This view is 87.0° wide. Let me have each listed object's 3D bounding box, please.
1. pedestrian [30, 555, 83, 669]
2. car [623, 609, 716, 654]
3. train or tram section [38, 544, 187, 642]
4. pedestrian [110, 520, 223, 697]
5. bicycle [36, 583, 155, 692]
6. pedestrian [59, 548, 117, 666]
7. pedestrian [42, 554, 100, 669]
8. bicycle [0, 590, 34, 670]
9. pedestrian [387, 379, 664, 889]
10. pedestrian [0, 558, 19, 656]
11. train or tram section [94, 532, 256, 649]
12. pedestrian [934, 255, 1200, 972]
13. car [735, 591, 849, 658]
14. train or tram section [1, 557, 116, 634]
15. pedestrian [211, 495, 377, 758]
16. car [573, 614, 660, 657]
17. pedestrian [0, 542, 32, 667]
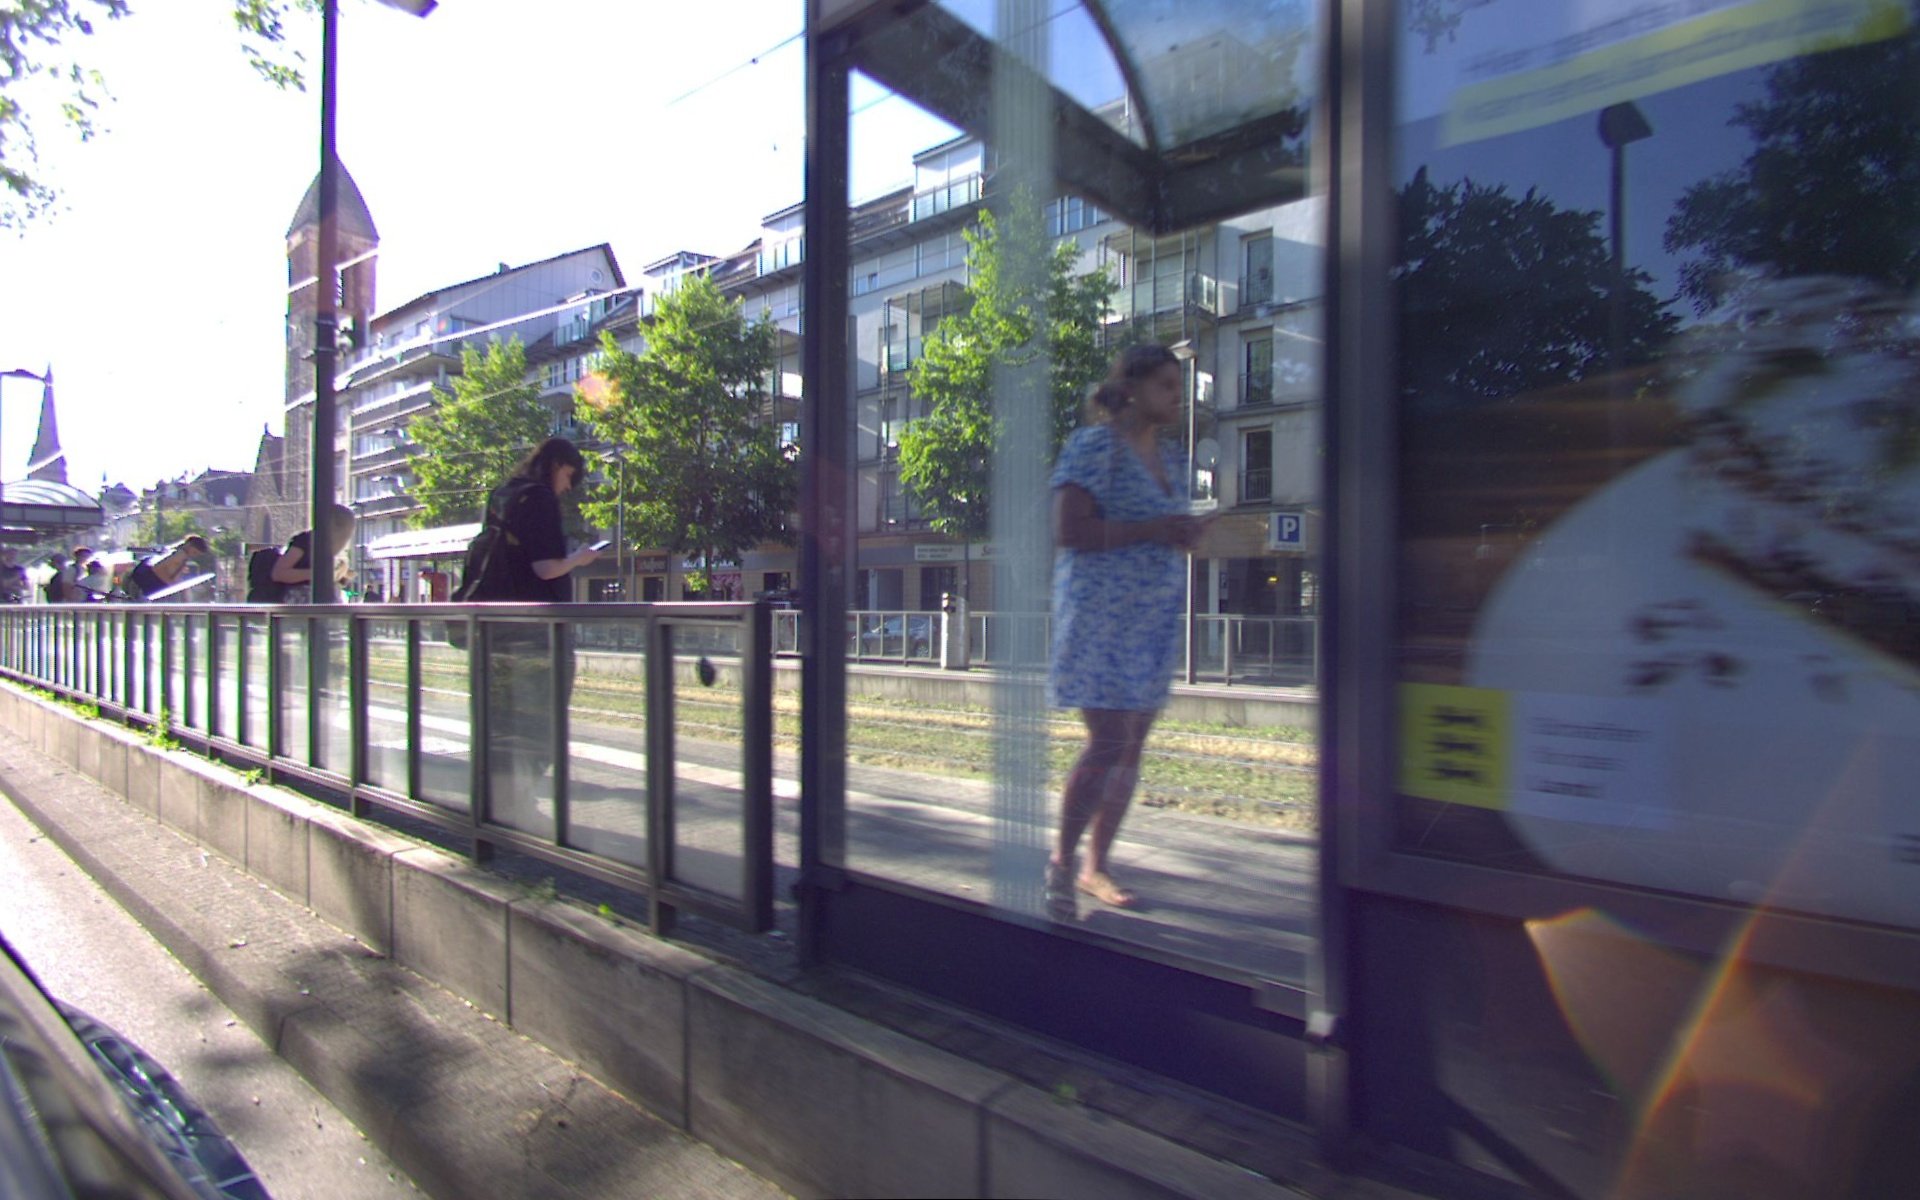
[{"bbox_3d":[-14.843,0.188,16.630,0.592,1.813,0.825,-2,1,-44],"label":"pedestrian"},{"bbox_3d":[-11.581,1.202,40.266,3.783,1.648,1.788,0,1,41],"label":"car"},{"bbox_3d":[-37.526,-0.209,44.483,14.554,3.713,2.839,0,-1,42],"label":"train or tram section"},{"bbox_3d":[-8.404,0.081,10.723,0.773,1.784,0.777,-1,1,41],"label":"pedestrian"},{"bbox_3d":[-9.874,0.394,11.530,2.029,1.142,0.729,0,1,41],"label":"bicycle"},{"bbox_3d":[-13.057,0.100,15.158,0.729,1.720,0.501,-1,1,38],"label":"pedestrian"},{"bbox_3d":[-13.656,0.163,15.549,0.599,1.720,0.543,-1,1,38],"label":"pedestrian"},{"bbox_3d":[-14.508,0.431,15.299,2.102,1.142,0.508,0,1,41],"label":"bicycle"},{"bbox_3d":[-1.722,0.114,4.030,0.694,1.772,0.757,-1,1,40],"label":"pedestrian"},{"bbox_3d":[-19.109,0.139,20.025,0.825,1.916,0.662,0,1,44],"label":"pedestrian"},{"bbox_3d":[-28.454,-0.256,36.470,9.680,3.713,2.839,0,-1,41],"label":"train or tram section"},{"bbox_3d":[0.314,0.034,2.941,0.624,1.735,0.908,-1,1,7],"label":"pedestrian"},{"bbox_3d":[-5.860,0.804,35.194,3.783,2.182,1.920,0,1,41],"label":"car"},{"bbox_3d":[-48.402,-0.157,54.113,14.554,3.703,2.839,0,-1,42],"label":"train or tram section"},{"bbox_3d":[-4.337,0.153,6.589,0.851,1.574,0.671,-1,1,41],"label":"pedestrian"},{"bbox_3d":[-14.552,1.460,42.812,3.783,1.690,1.788,0,1,41],"label":"car"},{"bbox_3d":[-15.656,0.072,16.597,0.592,2.011,0.825,-2,1,-44],"label":"pedestrian"}]
